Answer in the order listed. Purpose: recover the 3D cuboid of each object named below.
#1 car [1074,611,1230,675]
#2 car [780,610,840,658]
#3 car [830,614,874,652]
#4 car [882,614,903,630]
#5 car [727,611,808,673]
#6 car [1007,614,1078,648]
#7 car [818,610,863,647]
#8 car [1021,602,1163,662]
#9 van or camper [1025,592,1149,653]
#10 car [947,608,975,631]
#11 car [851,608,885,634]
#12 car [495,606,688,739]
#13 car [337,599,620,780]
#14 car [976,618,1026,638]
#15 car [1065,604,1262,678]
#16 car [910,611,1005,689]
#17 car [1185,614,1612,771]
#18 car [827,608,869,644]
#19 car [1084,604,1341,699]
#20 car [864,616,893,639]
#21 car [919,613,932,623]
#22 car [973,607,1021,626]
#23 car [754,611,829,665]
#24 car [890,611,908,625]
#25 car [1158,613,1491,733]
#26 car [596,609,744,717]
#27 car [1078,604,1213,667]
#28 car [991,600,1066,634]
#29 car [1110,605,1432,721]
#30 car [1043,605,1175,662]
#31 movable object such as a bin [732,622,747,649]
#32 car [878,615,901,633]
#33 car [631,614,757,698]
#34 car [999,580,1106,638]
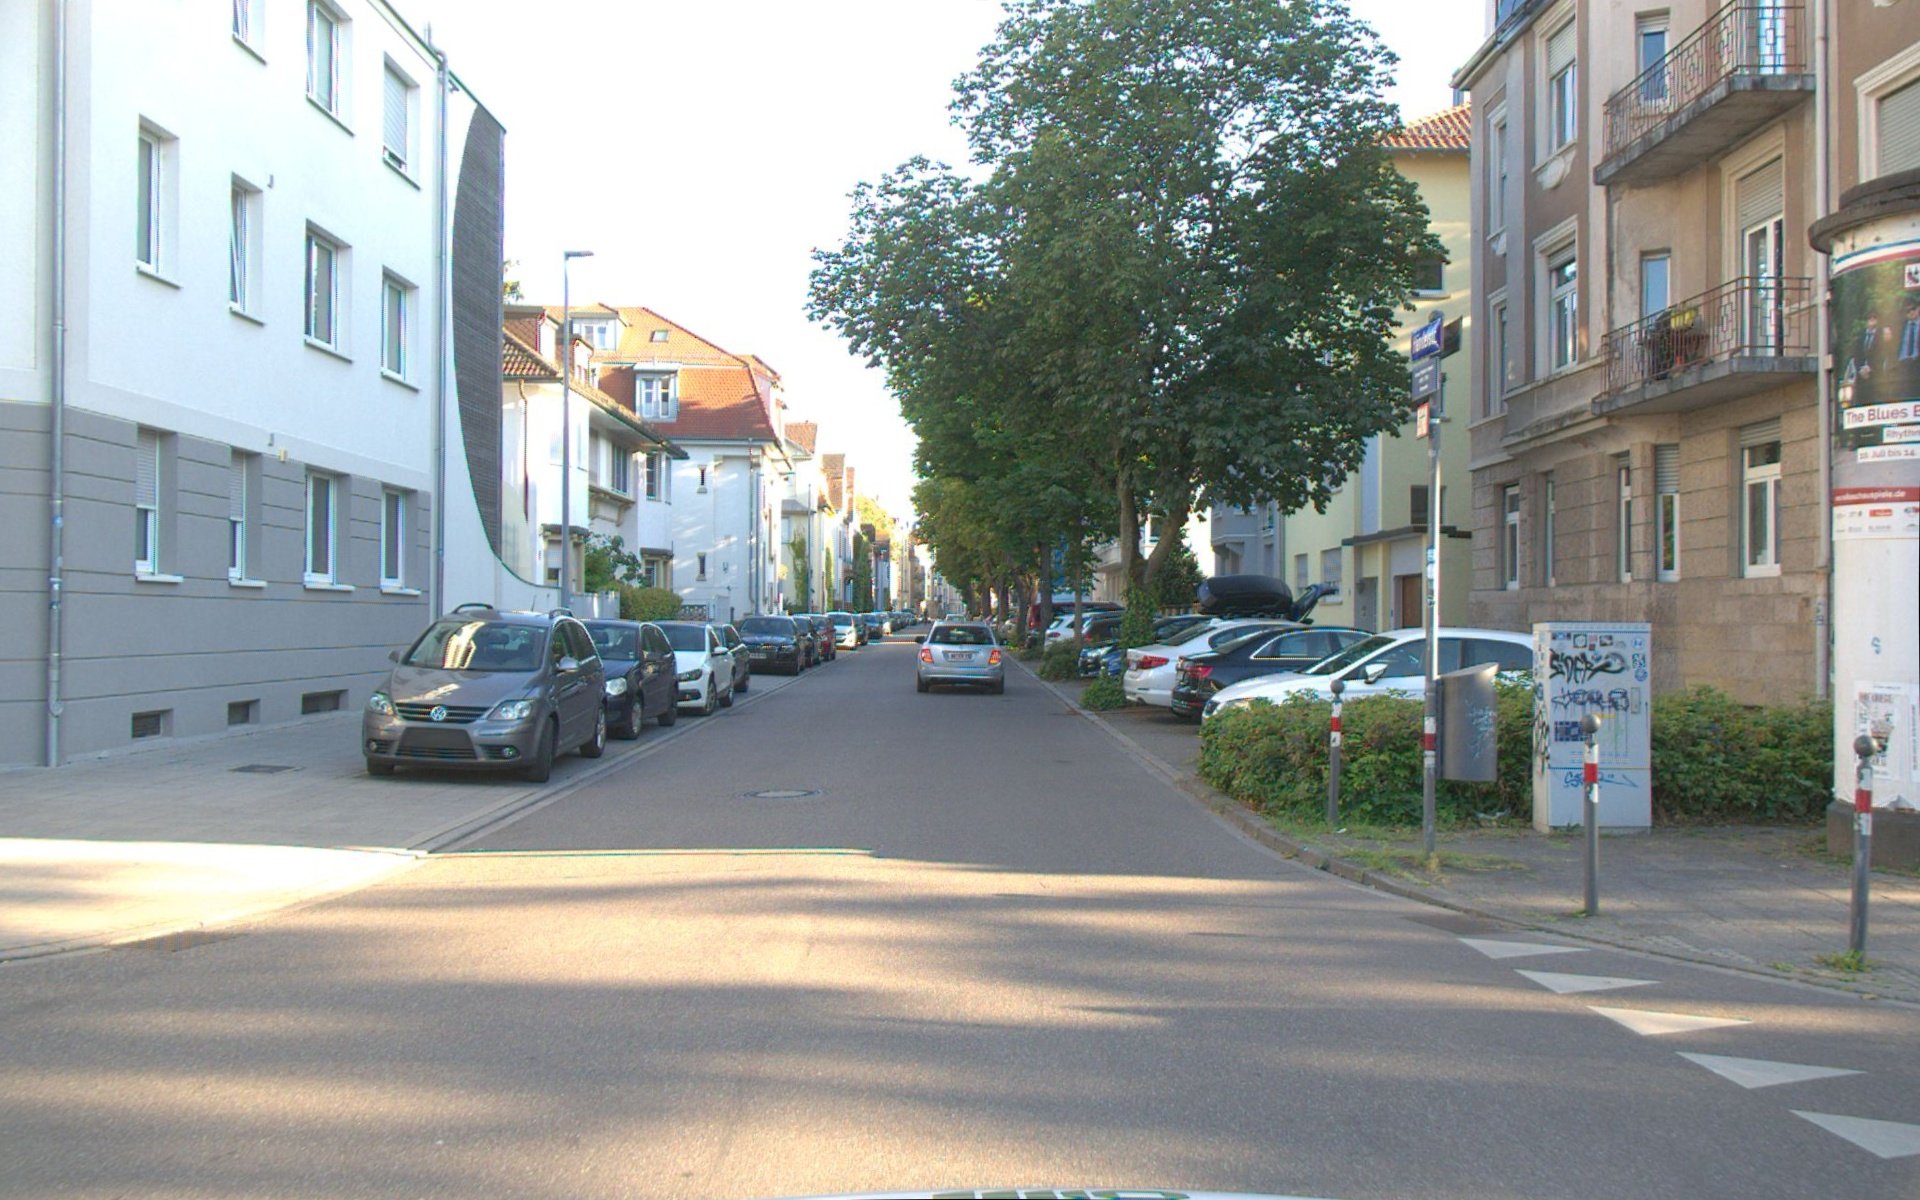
[{"bbox_3d":[4.918,1.093,42.729,3.844,1.585,1.725,0,0,1],"label":"car"},{"bbox_3d":[-4.980,1.136,55.235,1.625,1.514,3.753,1,-1,0],"label":"car"},{"bbox_3d":[-4.952,1.538,76.063,1.762,1.673,3.856,1,-2,-1],"label":"car"},{"bbox_3d":[-6.069,1.955,148.855,1.762,1.411,3.605,1,0,-1],"label":"car"},{"bbox_3d":[-5.013,1.082,43.523,1.817,1.524,4.651,1,-1,-3],"label":"car"},{"bbox_3d":[4.229,1.593,84.821,3.522,1.689,1.649,0,0,-3],"label":"car"},{"bbox_3d":[-5.034,1.199,69.883,1.625,1.526,3.753,1,-1,0],"label":"car"},{"bbox_3d":[4.340,1.052,54.924,4.531,1.869,1.953,1,-1,-1],"label":"car"},{"bbox_3d":[4.419,0.790,58.019,4.223,2.049,2.000,1,-1,2],"label":"van or camper"},{"bbox_3d":[0.117,1.373,114.921,1.779,1.499,4.217,0,-1,2],"label":"car"},{"bbox_3d":[-5.410,1.225,97.466,1.762,1.508,3.856,1,0,-1],"label":"car"},{"bbox_3d":[-4.844,0.917,22.276,1.846,1.619,4.088,0,-1,-3],"label":"car"},{"bbox_3d":[-4.740,0.833,16.906,1.846,1.619,4.088,0,-1,-3],"label":"car"},{"bbox_3d":[3.074,2.084,124.537,3.765,1.508,1.805,0,0,0],"label":"car"},{"bbox_3d":[4.467,0.894,36.757,4.105,1.585,1.873,0,-1,-2],"label":"car"},{"bbox_3d":[0.012,1.007,33.995,1.779,1.499,4.217,0,-1,2],"label":"car"},{"bbox_3d":[4.494,0.925,17.378,3.966,1.532,1.861,0,-1,-2],"label":"car"},{"bbox_3d":[-5.352,1.223,79.603,1.762,1.673,3.856,1,0,-1],"label":"car"},{"bbox_3d":[4.598,0.930,30.539,4.435,1.669,1.873,0,-1,-2],"label":"car"},{"bbox_3d":[-5.597,1.860,113.902,1.762,1.508,3.856,1,0,-1],"label":"car"},{"bbox_3d":[-4.944,2.540,238.352,1.762,1.411,3.605,1,0,-1],"label":"car"},{"bbox_3d":[2.952,1.312,130.718,3.765,1.508,1.805,0,0,0],"label":"car"},{"bbox_3d":[-5.019,1.125,49.773,1.747,1.524,4.699,1,-1,0],"label":"car"},{"bbox_3d":[-6.563,1.922,178.598,1.762,1.411,3.605,1,0,-1],"label":"car"},{"bbox_3d":[4.814,0.946,22.202,4.059,1.473,1.672,-1,-1,-2],"label":"car"},{"bbox_3d":[-4.607,0.970,26.802,1.846,1.619,4.088,0,-1,-3],"label":"car"},{"bbox_3d":[5.069,0.969,45.550,3.476,1.683,1.725,0,-1,-2],"label":"car"},{"bbox_3d":[4.163,1.020,100.796,4.428,2.049,2.250,0,0,-2],"label":"car"},{"bbox_3d":[4.619,0.906,24.911,4.391,1.552,1.951,-1,0,-6],"label":"car"},{"bbox_3d":[4.308,0.968,48.165,3.655,1.585,1.725,0,-1,-2],"label":"car"},{"bbox_3d":[-9.210,1.475,69.060,0.517,1.127,0.589,1,-2,-1],"label":"movable object such as a bin"},{"bbox_3d":[-5.874,1.970,137.533,1.762,1.411,3.605,1,0,-1],"label":"car"},{"bbox_3d":[-5.016,1.038,31.672,1.722,1.473,4.141,1,-1,0],"label":"car"},{"bbox_3d":[4.859,0.465,87.688,5.431,3.020,2.470,0,0,-3],"label":"car"}]
